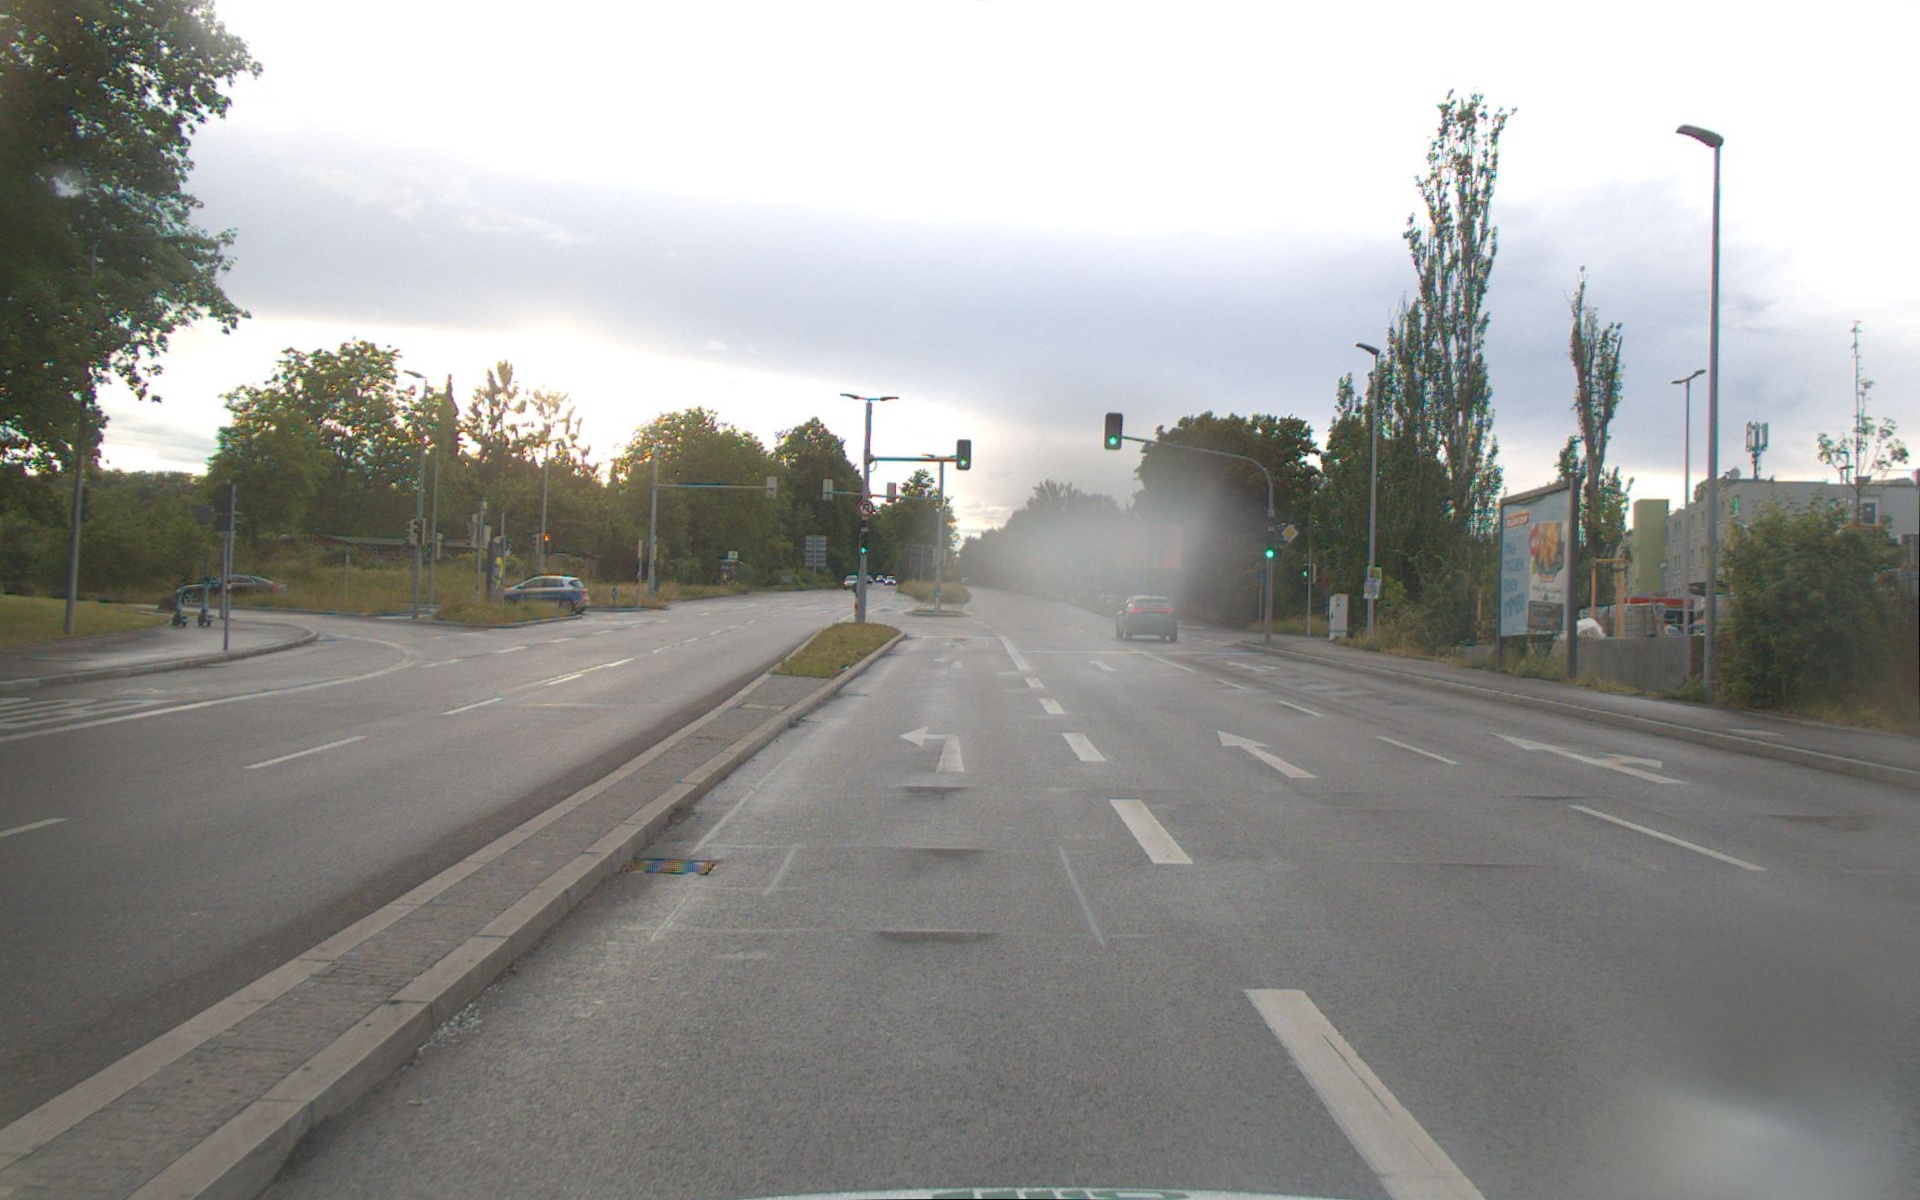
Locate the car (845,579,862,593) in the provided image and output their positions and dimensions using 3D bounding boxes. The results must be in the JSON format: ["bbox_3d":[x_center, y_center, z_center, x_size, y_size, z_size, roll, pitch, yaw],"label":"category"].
[{"bbox_3d":[-12.681,-1.692,196.709,1.733,1.624,4.488,2,0,-1],"label":"car"}]

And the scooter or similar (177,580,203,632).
[{"bbox_3d":[-19.006,0.137,40.821,0.306,1.239,1.303,2,0,-14],"label":"scooter or similar"}]

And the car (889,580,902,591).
[{"bbox_3d":[-10.145,-2.235,259.397,1.855,1.561,4.488,2,0,-1],"label":"car"}]

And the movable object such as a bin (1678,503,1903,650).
[{"bbox_3d":[20.492,-0.575,41.147,2.258,3.333,5.416,2,0,-7],"label":"movable object such as a bin"}]

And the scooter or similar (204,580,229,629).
[{"bbox_3d":[-19.106,0.111,42.514,0.306,1.239,1.303,2,0,-13],"label":"scooter or similar"}]

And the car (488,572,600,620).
[{"bbox_3d":[-17.772,-0.156,70.706,4.097,1.748,2.084,3,-2,3],"label":"car"}]

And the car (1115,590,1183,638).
[{"bbox_3d":[6.278,0.441,55.395,1.709,1.495,4.165,2,0,-1],"label":"car"}]

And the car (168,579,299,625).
[{"bbox_3d":[-31.105,0.103,70.934,4.559,1.610,2.170,4,-2,-6],"label":"car"}]
